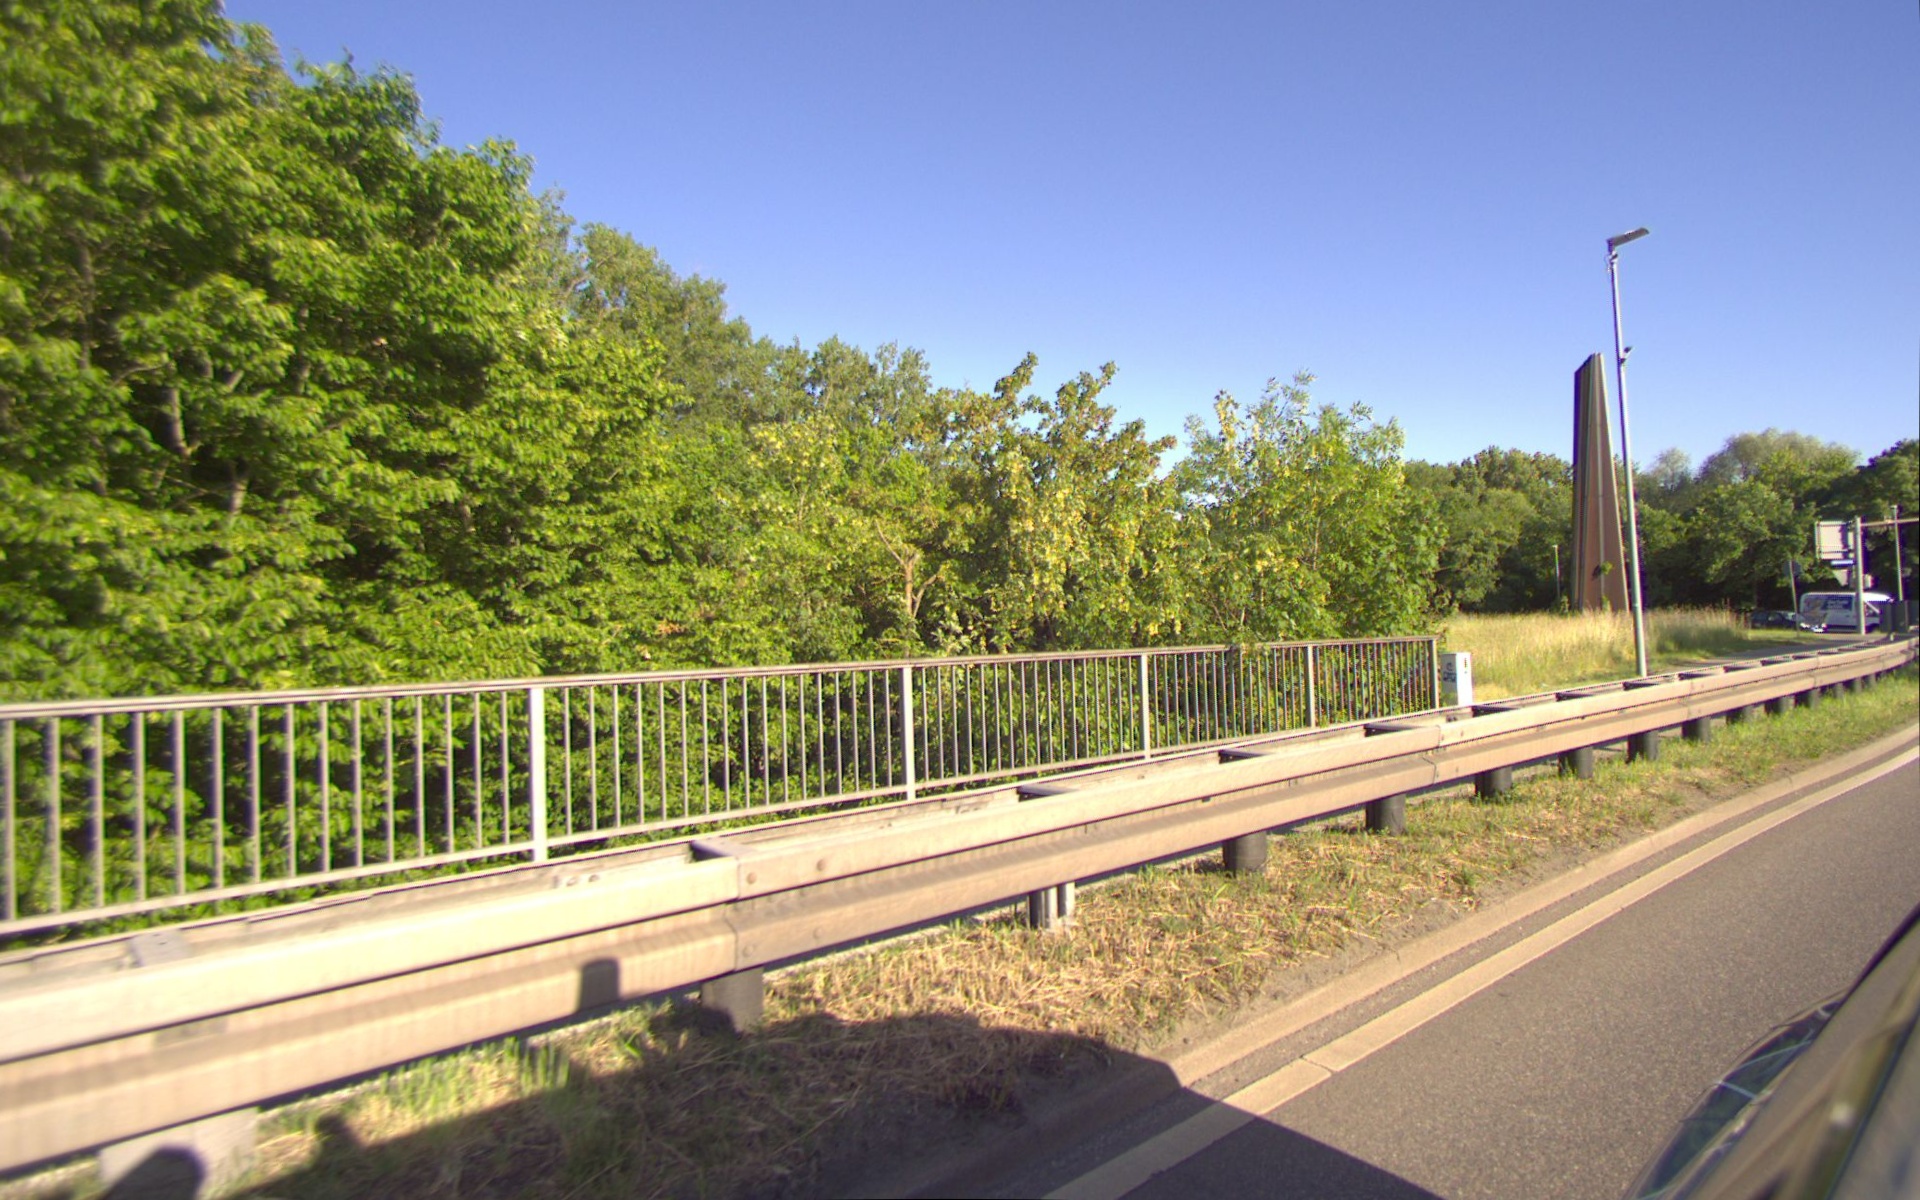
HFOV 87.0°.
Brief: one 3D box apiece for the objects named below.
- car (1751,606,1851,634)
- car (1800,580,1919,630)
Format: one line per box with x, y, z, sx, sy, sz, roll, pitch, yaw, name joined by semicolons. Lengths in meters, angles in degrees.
45.052;1.060;54.348;1.808;1.431;3.992;0;0;-5;car
48.499;0.348;54.049;2.072;2.532;5.710;0;-2;-6;car
